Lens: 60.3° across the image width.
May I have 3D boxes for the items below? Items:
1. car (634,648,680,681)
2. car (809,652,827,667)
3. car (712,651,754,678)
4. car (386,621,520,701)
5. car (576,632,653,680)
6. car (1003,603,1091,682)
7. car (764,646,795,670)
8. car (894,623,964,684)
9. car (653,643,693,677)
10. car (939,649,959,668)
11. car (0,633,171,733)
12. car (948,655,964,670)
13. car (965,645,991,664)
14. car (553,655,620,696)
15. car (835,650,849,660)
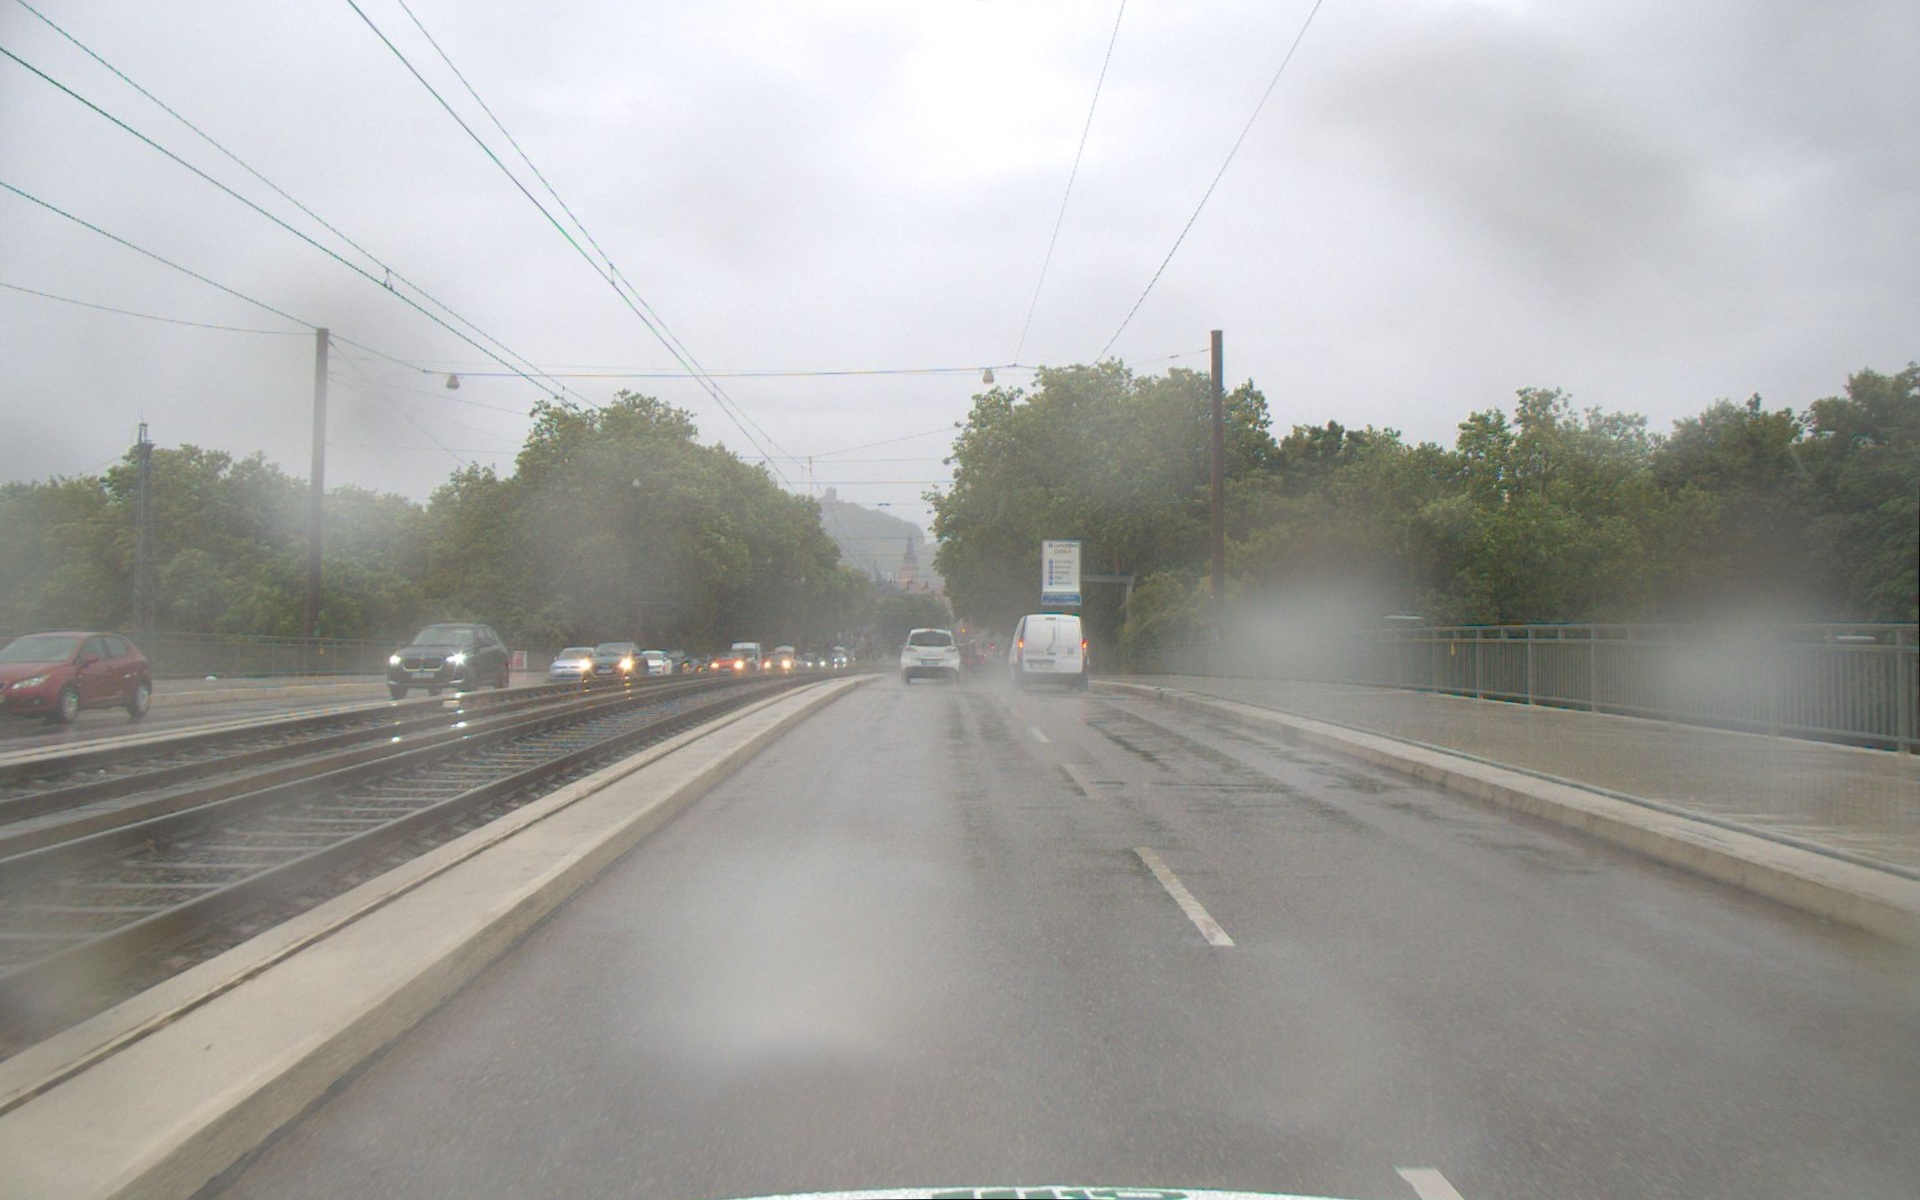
[{"bbox_3d":[-15.442,3.275,84.491,1.476,1.425,4.891,-5,-1,-2],"label":"car"},{"bbox_3d":[-14.833,6.241,172.973,1.475,1.425,4.706,-2,-1,0],"label":"car"},{"bbox_3d":[-12.320,3.468,89.938,1.762,1.339,4.083,1,-1,-1],"label":"car"},{"bbox_3d":[-11.422,1.349,37.532,1.781,1.683,3.999,1,-1,-1],"label":"car"},{"bbox_3d":[-11.746,1.888,56.532,1.762,1.508,4.083,1,-1,-1],"label":"car"},{"bbox_3d":[2.042,1.001,39.722,1.952,1.757,4.000,1,-1,1],"label":"car"},{"bbox_3d":[-12.962,4.190,119.099,1.779,1.392,4.265,1,2,0],"label":"car"},{"bbox_3d":[-0.919,1.618,50.740,1.952,1.747,4.000,1,-1,1],"label":"car"},{"bbox_3d":[-15.648,3.269,90.344,1.475,1.701,4.831,-2,-1,-2],"label":"car"},{"bbox_3d":[-1.162,6.258,176.596,1.952,1.859,4.000,1,-1,1],"label":"car"},{"bbox_3d":[-14.714,1.309,27.081,1.588,1.481,4.320,-2,-1,-2],"label":"car"},{"bbox_3d":[-0.532,8.187,216.394,1.952,1.859,4.000,1,-1,1],"label":"car"},{"bbox_3d":[1.390,4.259,129.177,1.952,1.344,4.000,1,-1,1],"label":"car"},{"bbox_3d":[-15.212,3.045,67.568,1.826,1.481,4.317,-2,-1,-2],"label":"car"},{"bbox_3d":[-17.551,8.193,245.337,1.768,1.374,4.262,-2,-1,-1],"label":"car"}]
